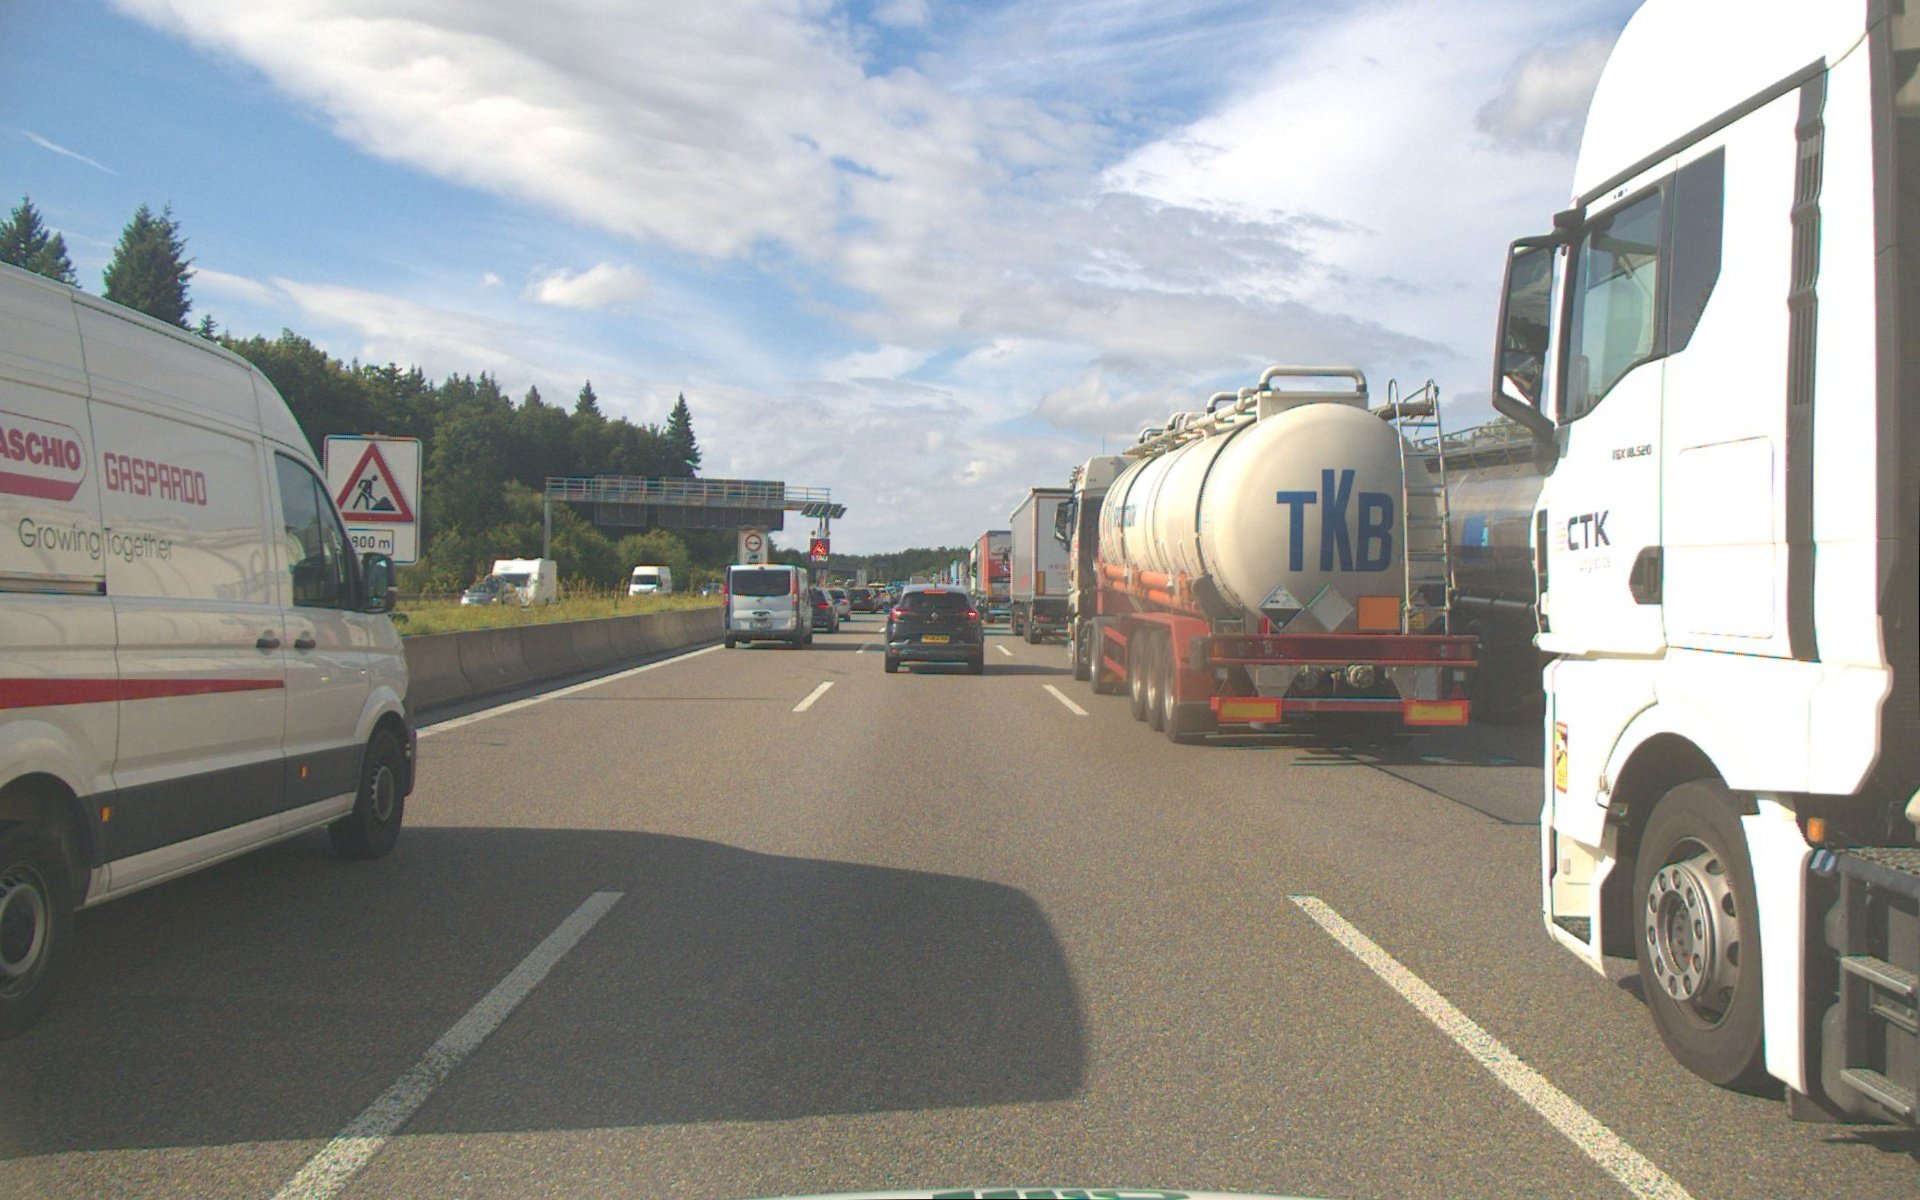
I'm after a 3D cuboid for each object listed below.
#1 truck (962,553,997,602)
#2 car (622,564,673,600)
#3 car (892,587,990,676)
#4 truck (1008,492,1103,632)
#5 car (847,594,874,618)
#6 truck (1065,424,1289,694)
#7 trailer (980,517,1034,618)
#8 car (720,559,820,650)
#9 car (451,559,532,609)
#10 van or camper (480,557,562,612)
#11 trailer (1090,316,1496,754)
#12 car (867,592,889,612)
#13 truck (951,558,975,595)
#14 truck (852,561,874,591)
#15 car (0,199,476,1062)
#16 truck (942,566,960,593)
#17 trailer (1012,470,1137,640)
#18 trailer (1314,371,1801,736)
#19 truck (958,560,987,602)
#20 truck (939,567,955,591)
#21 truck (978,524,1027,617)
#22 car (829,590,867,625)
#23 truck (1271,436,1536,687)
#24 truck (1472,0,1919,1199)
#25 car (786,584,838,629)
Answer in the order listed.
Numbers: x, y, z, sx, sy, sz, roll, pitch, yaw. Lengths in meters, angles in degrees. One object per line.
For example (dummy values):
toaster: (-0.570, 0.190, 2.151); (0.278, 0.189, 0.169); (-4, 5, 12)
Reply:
truck: (1.239, -1.397, 106.276); (1.953, 2.982, 4.981); (3, 0, -1)
car: (-21.122, -1.204, 112.098); (2.269, 2.231, 6.861); (3, 0, -2)
car: (-0.370, 0.529, 30.531); (1.662, 1.509, 4.159); (1, 1, -1)
truck: (3.035, -1.172, 54.081); (2.729, 4.321, 6.459); (0, 0, 0)
car: (-5.755, 0.339, 96.016); (1.406, 1.333, 3.532); (3, 0, -2)
truck: (3.161, -0.564, 25.754); (2.482, 3.646, 6.728); (0, 0, -1)
trailer: (2.064, -1.404, 75.578); (2.106, 4.333, 8.439); (1, 0, -1)
car: (-4.661, 0.101, 41.249); (1.894, 2.013, 5.097); (3, 0, -1)
car: (-20.251, -0.674, 71.739); (2.194, 2.093, 5.081); (1, 0, -2)
van or camper: (-20.429, -0.682, 77.240); (2.409, 2.456, 5.850); (0, 0, -2)
trailer: (3.263, -0.558, 19.430); (2.489, 3.717, 10.624); (0, 0, -1)
car: (-5.760, 0.129, 116.367); (1.406, 1.333, 3.532); (3, 0, -2)
truck: (0.282, -2.085, 149.670); (1.953, 3.105, 4.981); (3, 0, -1)
truck: (-12.276, -3.018, 209.809); (2.297, 3.656, 6.304); (3, 0, -1)
car: (-3.937, 0.083, 7.026); (1.974, 2.644, 6.181); (0, 0, 0)
truck: (-1.036, -2.402, 194.974); (1.953, 3.105, 4.981); (3, 0, -1)
trailer: (3.090, -1.146, 47.627); (2.745, 4.318, 11.055); (0, 0, 0)
trailer: (7.147, -0.475, 21.939); (2.489, 3.661, 10.624); (0, 0, -1)
truck: (0.917, -1.391, 124.576); (1.953, 2.982, 4.981); (3, 0, -1)
truck: (-1.684, -2.802, 221.725); (1.953, 3.105, 4.981); (3, 0, -1)
truck: (2.029, -1.384, 80.730); (2.090, 4.356, 6.337); (1, 0, -1)
car: (-4.980, 0.336, 73.935); (1.470, 1.420, 3.475); (3, 0, -1)
truck: (7.067, -0.563, 27.370); (2.478, 3.636, 6.775); (0, 0, -1)
truck: (3.578, -0.635, 3.936); (2.653, 4.131, 6.360); (0, 0, -1)
car: (-4.789, 0.207, 53.876); (1.469, 1.420, 3.475); (0, 0, -1)
